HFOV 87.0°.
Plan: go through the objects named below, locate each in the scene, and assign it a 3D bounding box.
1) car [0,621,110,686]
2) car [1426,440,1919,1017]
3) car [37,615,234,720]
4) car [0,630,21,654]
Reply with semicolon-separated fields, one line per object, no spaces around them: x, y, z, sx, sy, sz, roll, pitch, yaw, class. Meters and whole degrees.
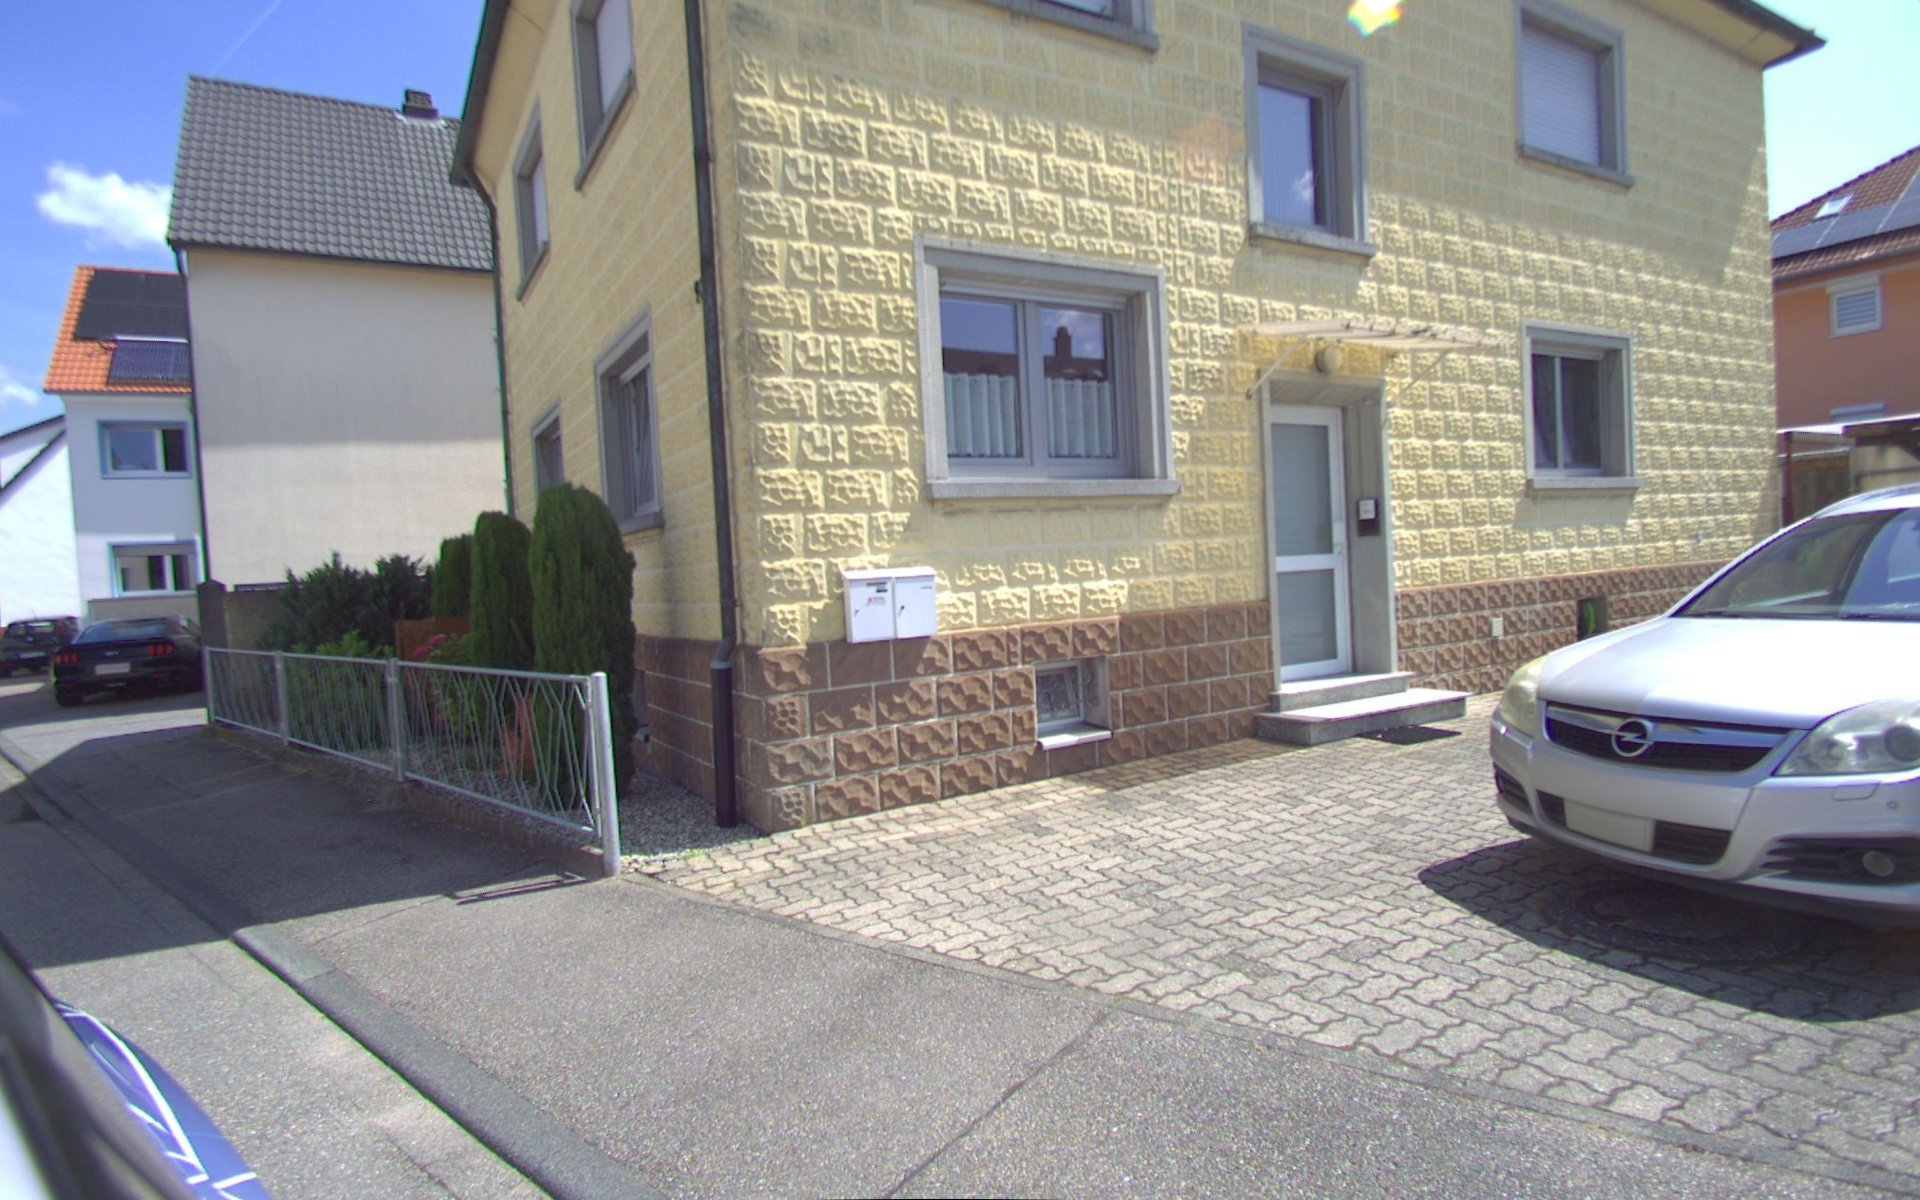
-24.384;1.376;27.190;1.615;1.465;3.798;-6;2;-30;car
4.308;0.191;3.993;4.397;1.496;1.798;-4;1;-19;car
-14.259;1.062;17.786;1.745;1.359;4.484;-6;3;-28;car
-66.116;2.941;69.553;1.758;1.511;4.048;-8;4;-36;car
